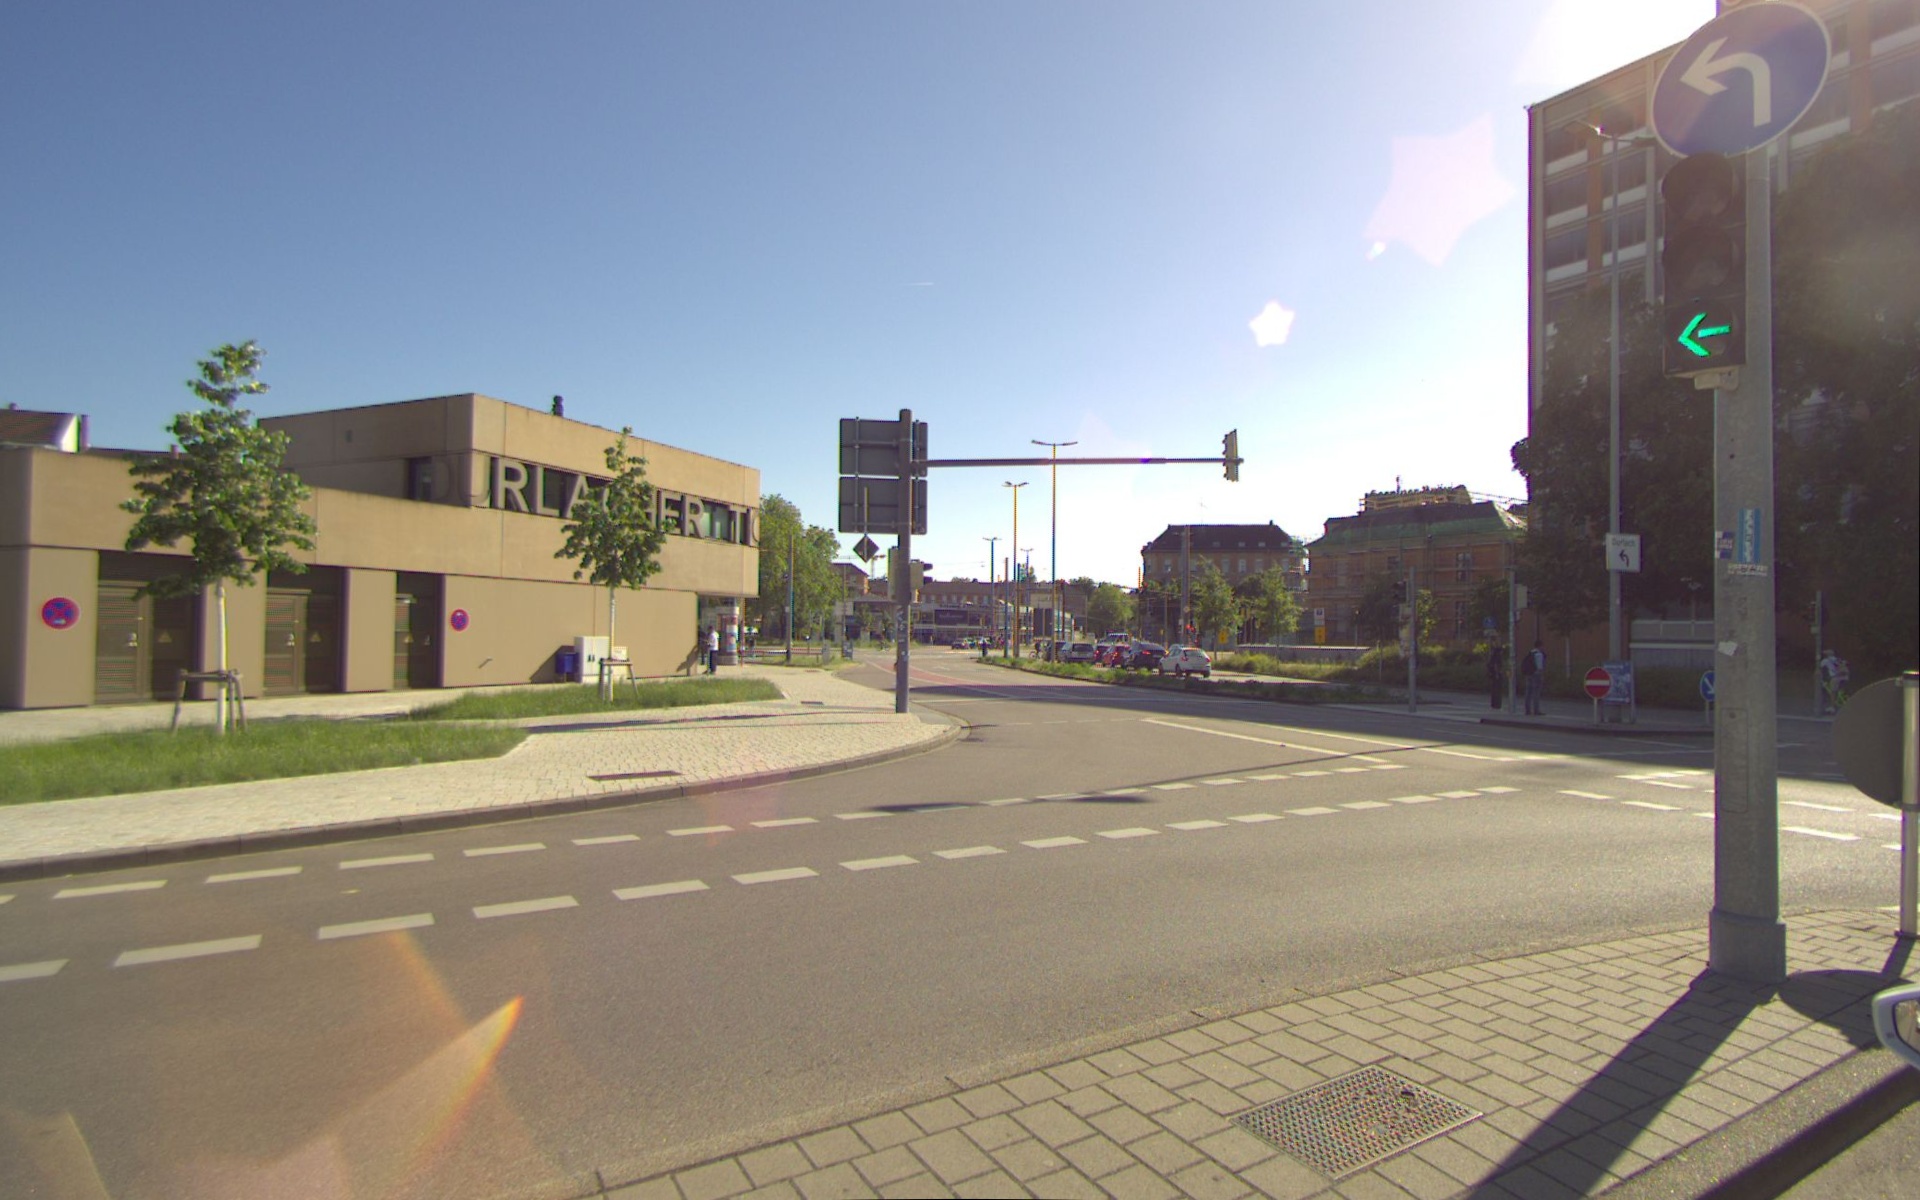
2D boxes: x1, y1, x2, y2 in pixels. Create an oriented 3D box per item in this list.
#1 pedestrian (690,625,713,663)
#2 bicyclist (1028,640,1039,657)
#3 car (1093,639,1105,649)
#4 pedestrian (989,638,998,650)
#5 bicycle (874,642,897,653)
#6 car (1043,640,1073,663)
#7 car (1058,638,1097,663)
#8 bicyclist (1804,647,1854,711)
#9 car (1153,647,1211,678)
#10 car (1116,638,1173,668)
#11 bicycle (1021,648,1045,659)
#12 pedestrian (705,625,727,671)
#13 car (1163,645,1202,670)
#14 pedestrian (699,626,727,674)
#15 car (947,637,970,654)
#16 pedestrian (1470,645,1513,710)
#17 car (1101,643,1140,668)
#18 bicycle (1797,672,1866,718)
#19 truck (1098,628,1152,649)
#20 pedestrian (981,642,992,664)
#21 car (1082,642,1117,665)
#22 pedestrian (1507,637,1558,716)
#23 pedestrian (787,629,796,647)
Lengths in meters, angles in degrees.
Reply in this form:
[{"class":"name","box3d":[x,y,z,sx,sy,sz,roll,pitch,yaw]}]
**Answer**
[{"class":"pedestrian","box3d":[-12.387,2.125,48.147,0.777,1.764,0.645,1,-3,37]},{"class":"bicyclist","box3d":[5.728,3.780,78.271,0.682,1.243,0.640,2,0,-18]},{"class":"car","box3d":[23.642,7.481,170.457,1.750,1.565,3.642,2,0,12]},{"class":"pedestrian","box3d":[4.147,5.463,124.405,0.856,1.427,0.687,2,0,-33]},{"class":"bicycle","box3d":[-8.958,5.688,120.456,2.615,1.204,0.943,2,0,-21]},{"class":"car","box3d":[6.804,3.544,70.089,1.696,1.461,3.911,3,-2,1]},{"class":"car","box3d":[7.377,3.148,63.183,1.698,1.461,3.797,2,-2,-4]},{"class":"bicyclist","box3d":[24.868,2.242,28.772,0.707,1.786,0.978,0,-1,15]},{"class":"car","box3d":[11.250,3.157,51.059,1.665,1.454,3.732,1,-2,-8]},{"class":"car","box3d":[10.586,3.009,57.965,1.954,1.645,4.373,1,-2,-8]},{"class":"bicycle","box3d":[5.697,4.170,78.269,1.710,0.754,0.640,2,0,-18]},{"class":"pedestrian","box3d":[-9.321,1.848,38.445,0.631,1.745,0.749,1,-4,-3]},{"class":"car","box3d":[15.572,4.016,70.534,1.846,1.638,3.625,2,-2,-1]},{"class":"pedestrian","box3d":[-9.190,1.849,37.362,0.777,1.745,0.594,-2,-5,37]},{"class":"car","box3d":[-0.181,5.979,131.917,1.960,2.040,4.002,2,0,15]},{"class":"pedestrian","box3d":[13.835,2.005,26.148,0.672,1.633,0.716,2,-2,-22]},{"class":"car","box3d":[10.235,3.531,64.190,1.645,1.461,3.721,3,-2,-3]},{"class":"bicycle","box3d":[24.842,2.679,28.682,0.733,1.180,1.871,0,-2,15]},{"class":"truck","box3d":[19.282,4.508,117.396,6.821,2.344,2.198,3,-3,-38]},{"class":"pedestrian","box3d":[2.013,4.059,76.702,0.567,1.632,0.564,2,0,-31]},{"class":"car","box3d":[9.759,3.761,70.527,1.697,1.461,3.798,3,-2,-3]},{"class":"pedestrian","box3d":[14.024,1.867,24.613,1.086,1.856,0.748,4,-3,-39]},{"class":"pedestrian","box3d":[-13.677,3.085,81.468,0.586,1.427,0.566,2,0,-22]}]
